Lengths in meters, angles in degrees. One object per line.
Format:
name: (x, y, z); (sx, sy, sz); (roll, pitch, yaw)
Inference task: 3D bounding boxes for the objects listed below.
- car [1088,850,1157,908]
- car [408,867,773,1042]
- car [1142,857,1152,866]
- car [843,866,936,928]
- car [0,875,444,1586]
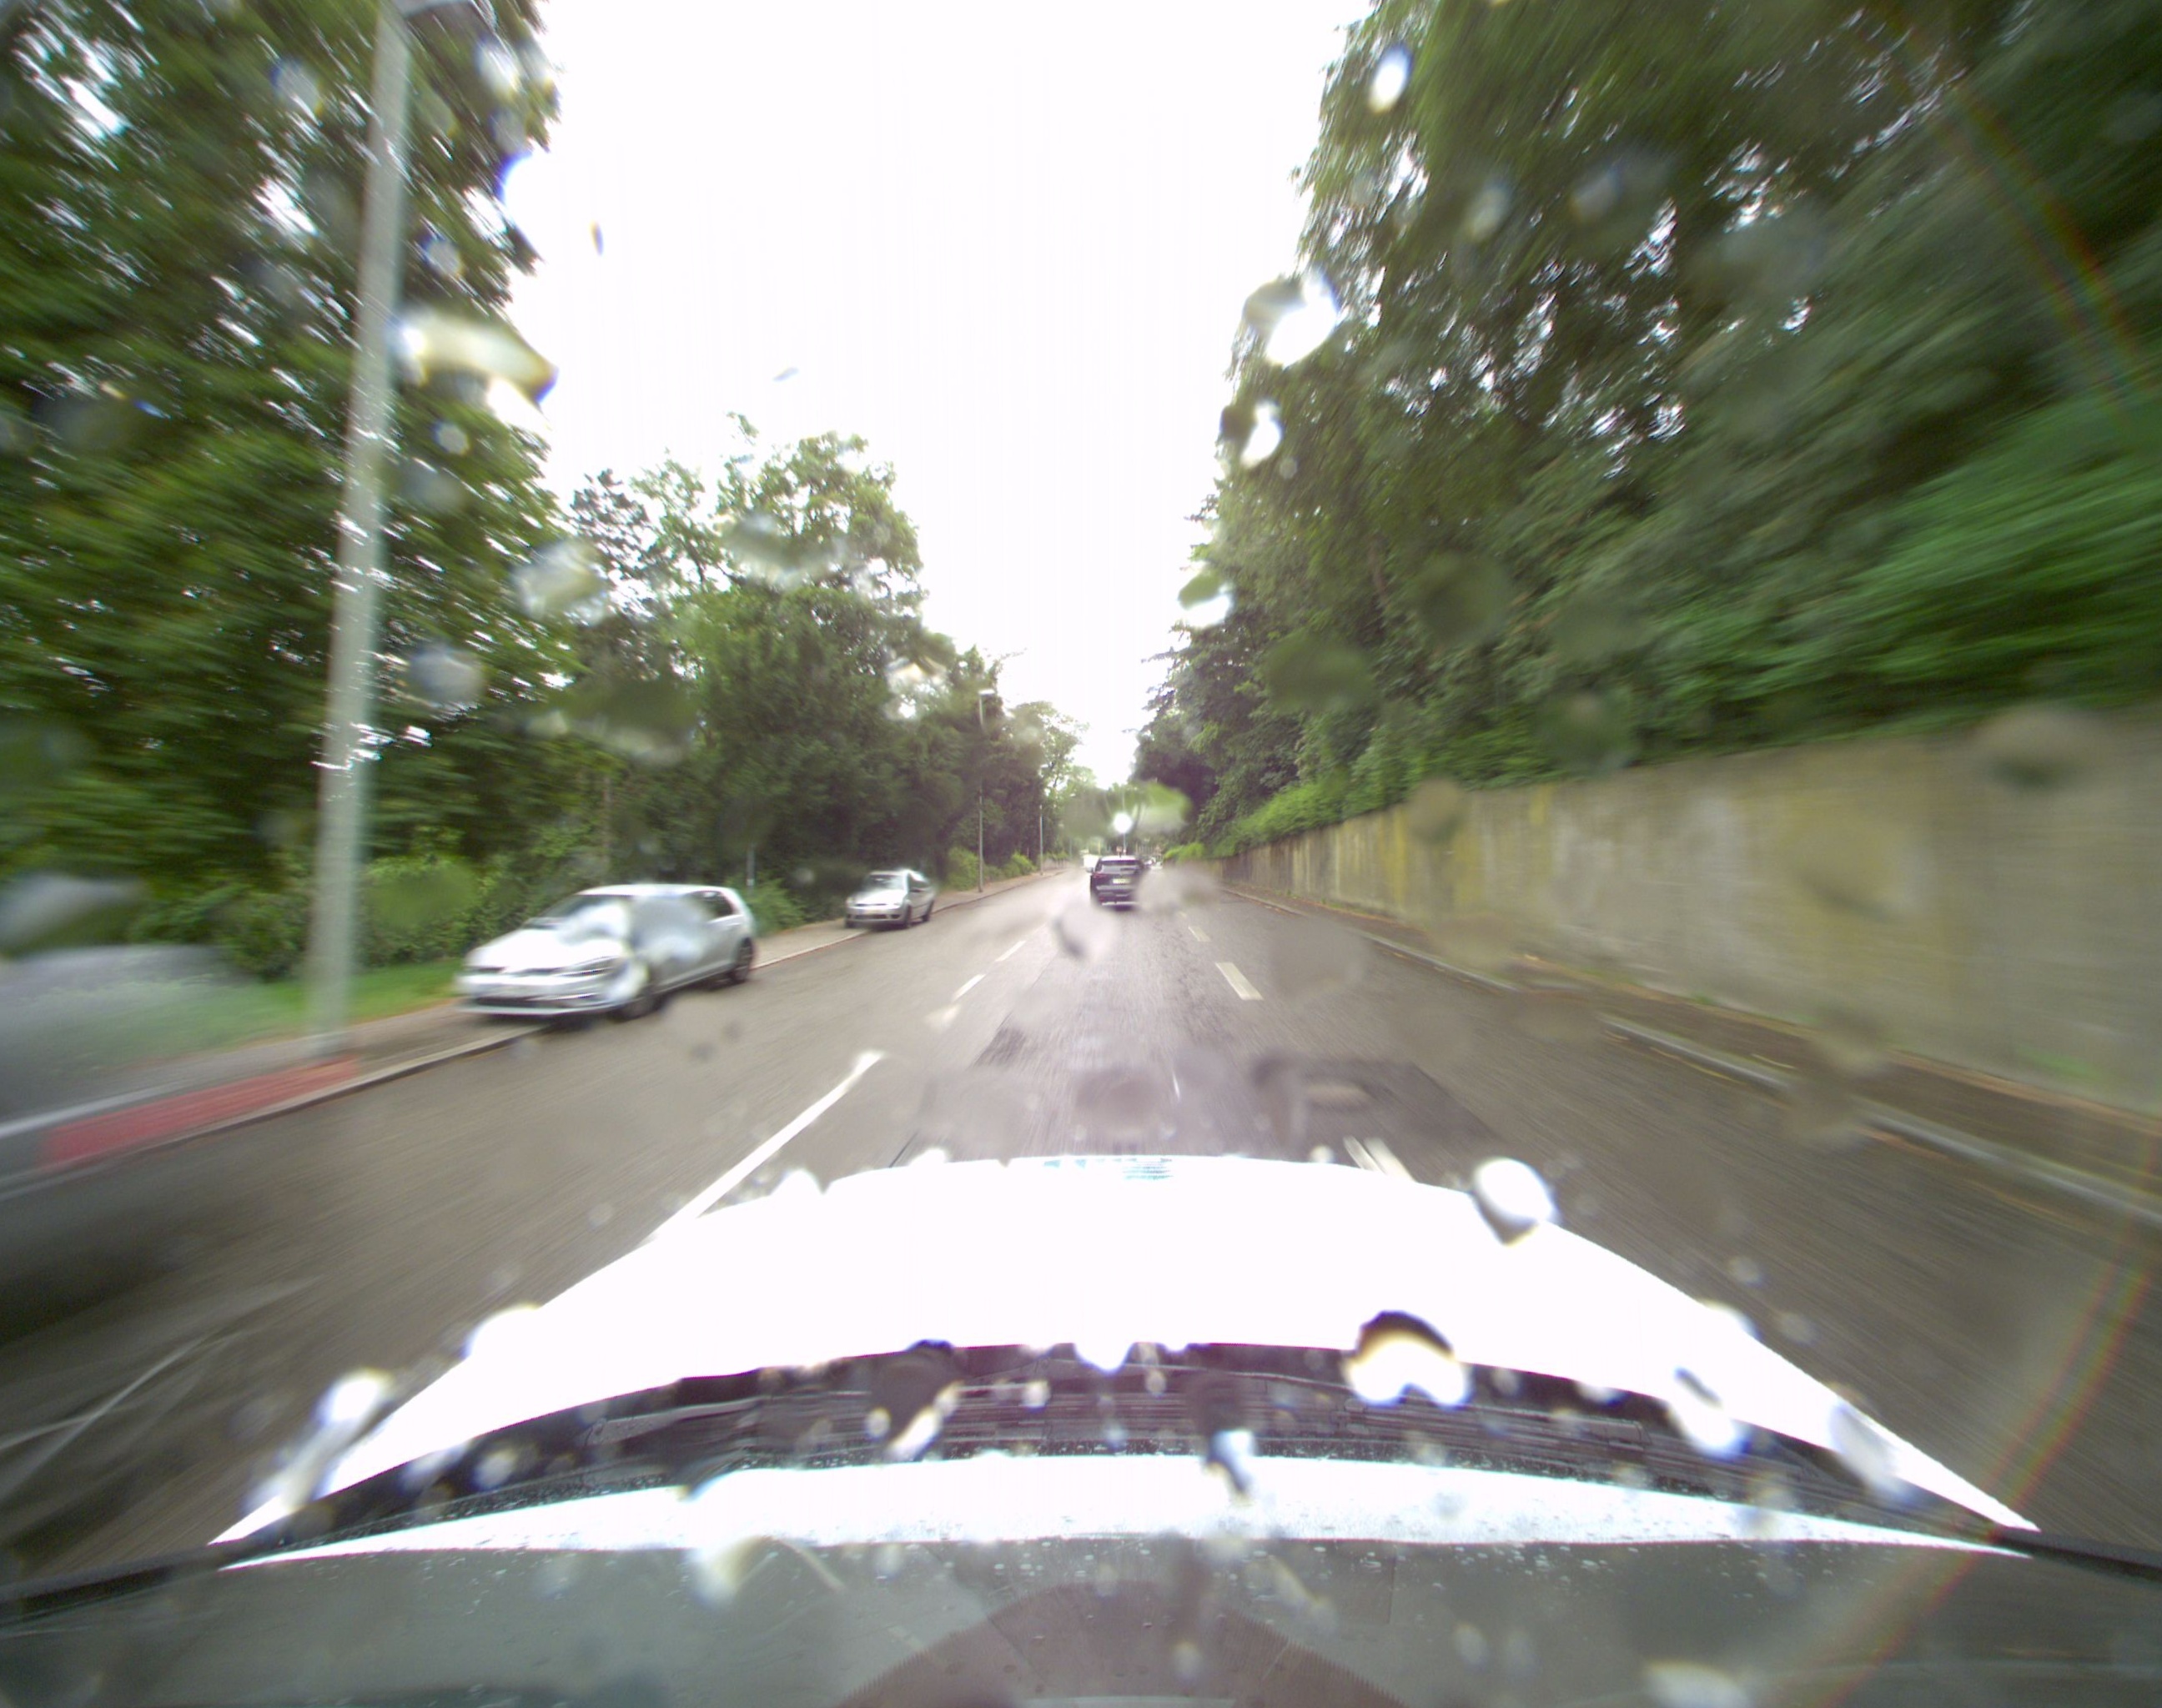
car: (1.245, 0.712, 25.051); (1.921, 1.613, 4.002); (-1, 0, 2)
car: (-5.859, 1.071, 10.502); (1.879, 1.611, 4.242); (-4, 0, 3)
car: (12.395, 1.363, 154.144); (1.822, 1.711, 4.004); (-1, 0, 4)
car: (-5.116, 1.100, 22.254); (1.621, 1.499, 3.927); (0, 0, 0)
car: (-3.239, 0.860, 0.914); (1.754, 1.491, 4.001); (-3, 0, 1)
